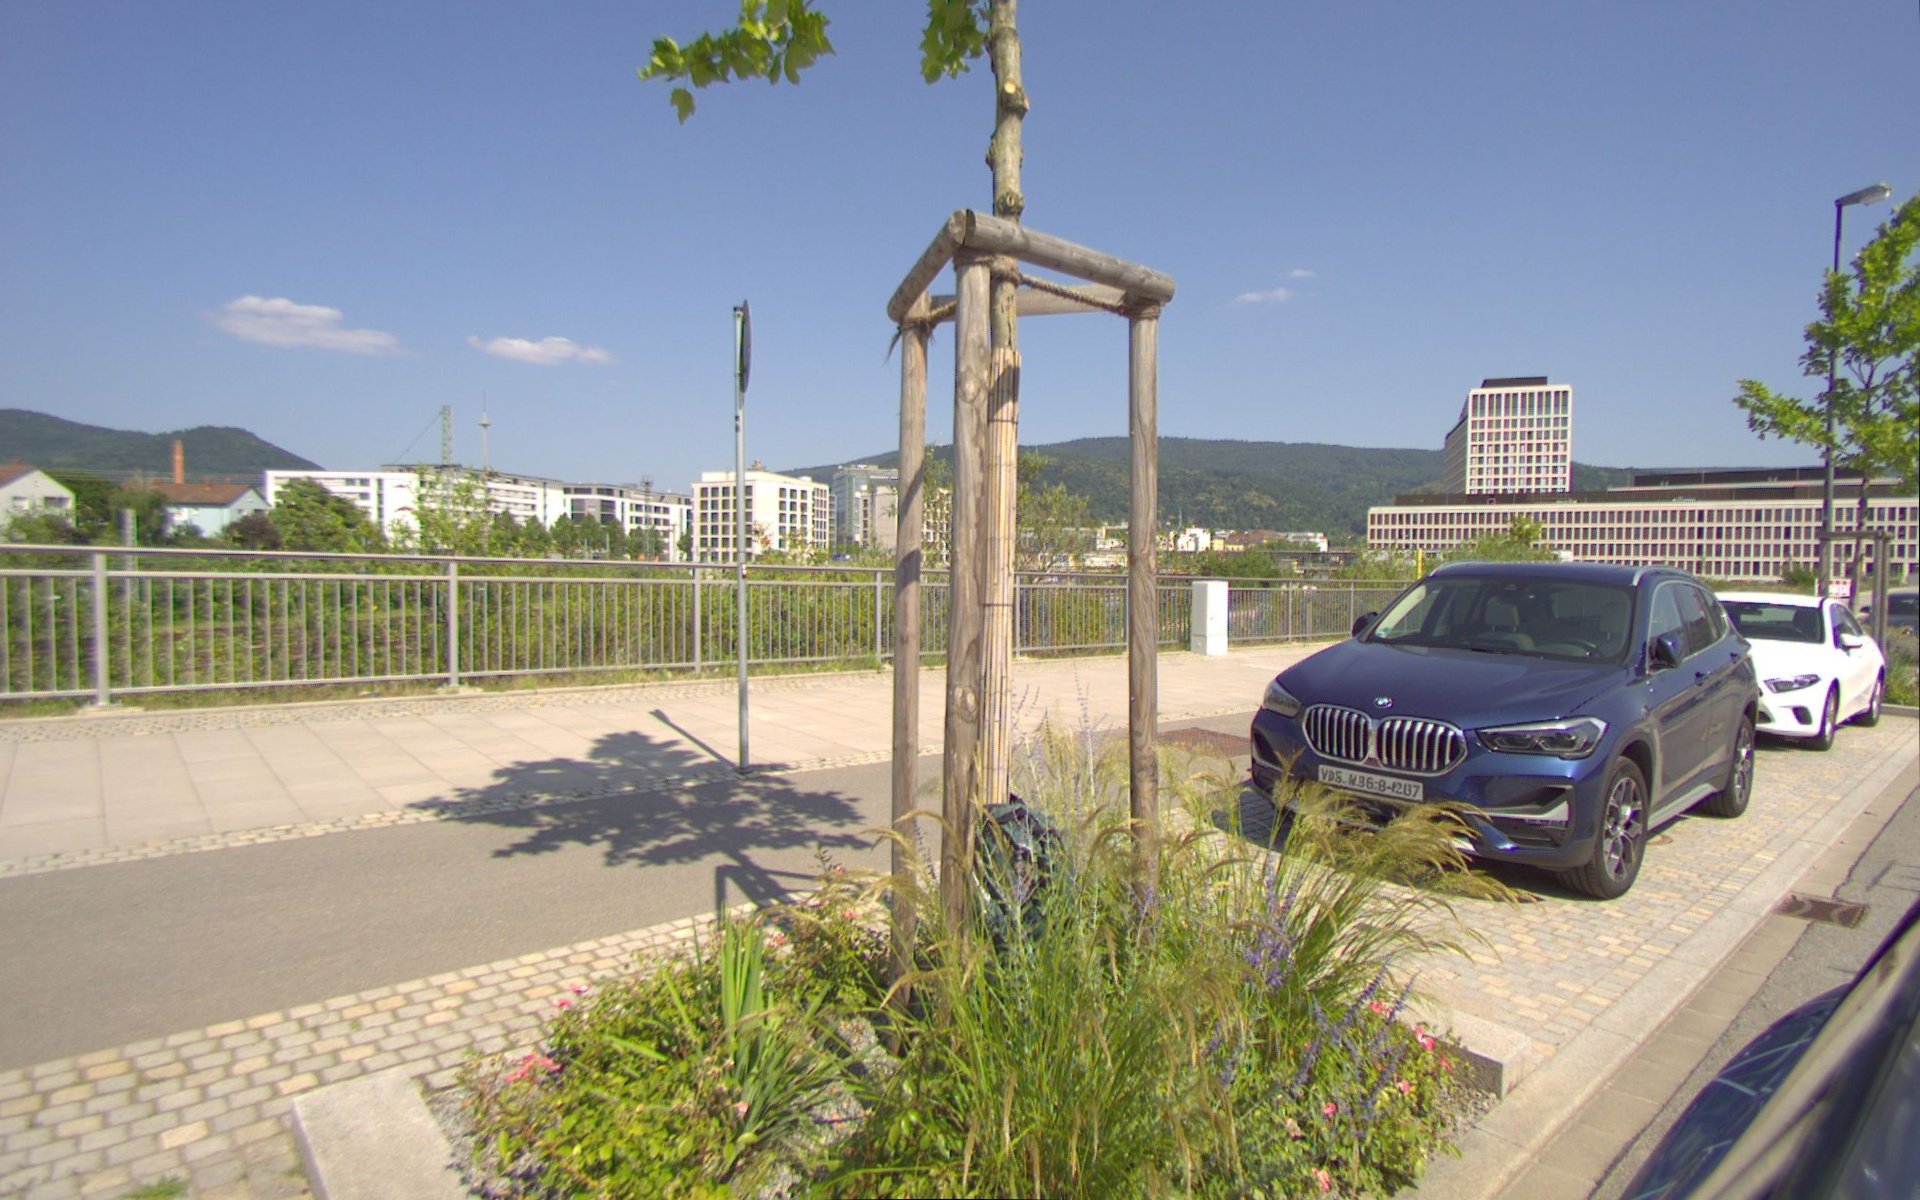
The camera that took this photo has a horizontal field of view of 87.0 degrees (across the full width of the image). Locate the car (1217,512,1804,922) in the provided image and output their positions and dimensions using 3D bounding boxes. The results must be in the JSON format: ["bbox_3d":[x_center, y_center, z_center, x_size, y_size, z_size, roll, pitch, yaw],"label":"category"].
[{"bbox_3d":[3.598,0.405,6.259,4.197,1.703,1.807,-1,4,-41],"label":"car"}]

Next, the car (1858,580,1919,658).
[{"bbox_3d":[20.059,0.374,20.841,3.849,1.449,1.808,-1,5,-41],"label":"car"}]

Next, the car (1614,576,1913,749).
[{"bbox_3d":[8.670,0.494,10.790,4.197,1.390,1.710,-1,5,-41],"label":"car"}]
